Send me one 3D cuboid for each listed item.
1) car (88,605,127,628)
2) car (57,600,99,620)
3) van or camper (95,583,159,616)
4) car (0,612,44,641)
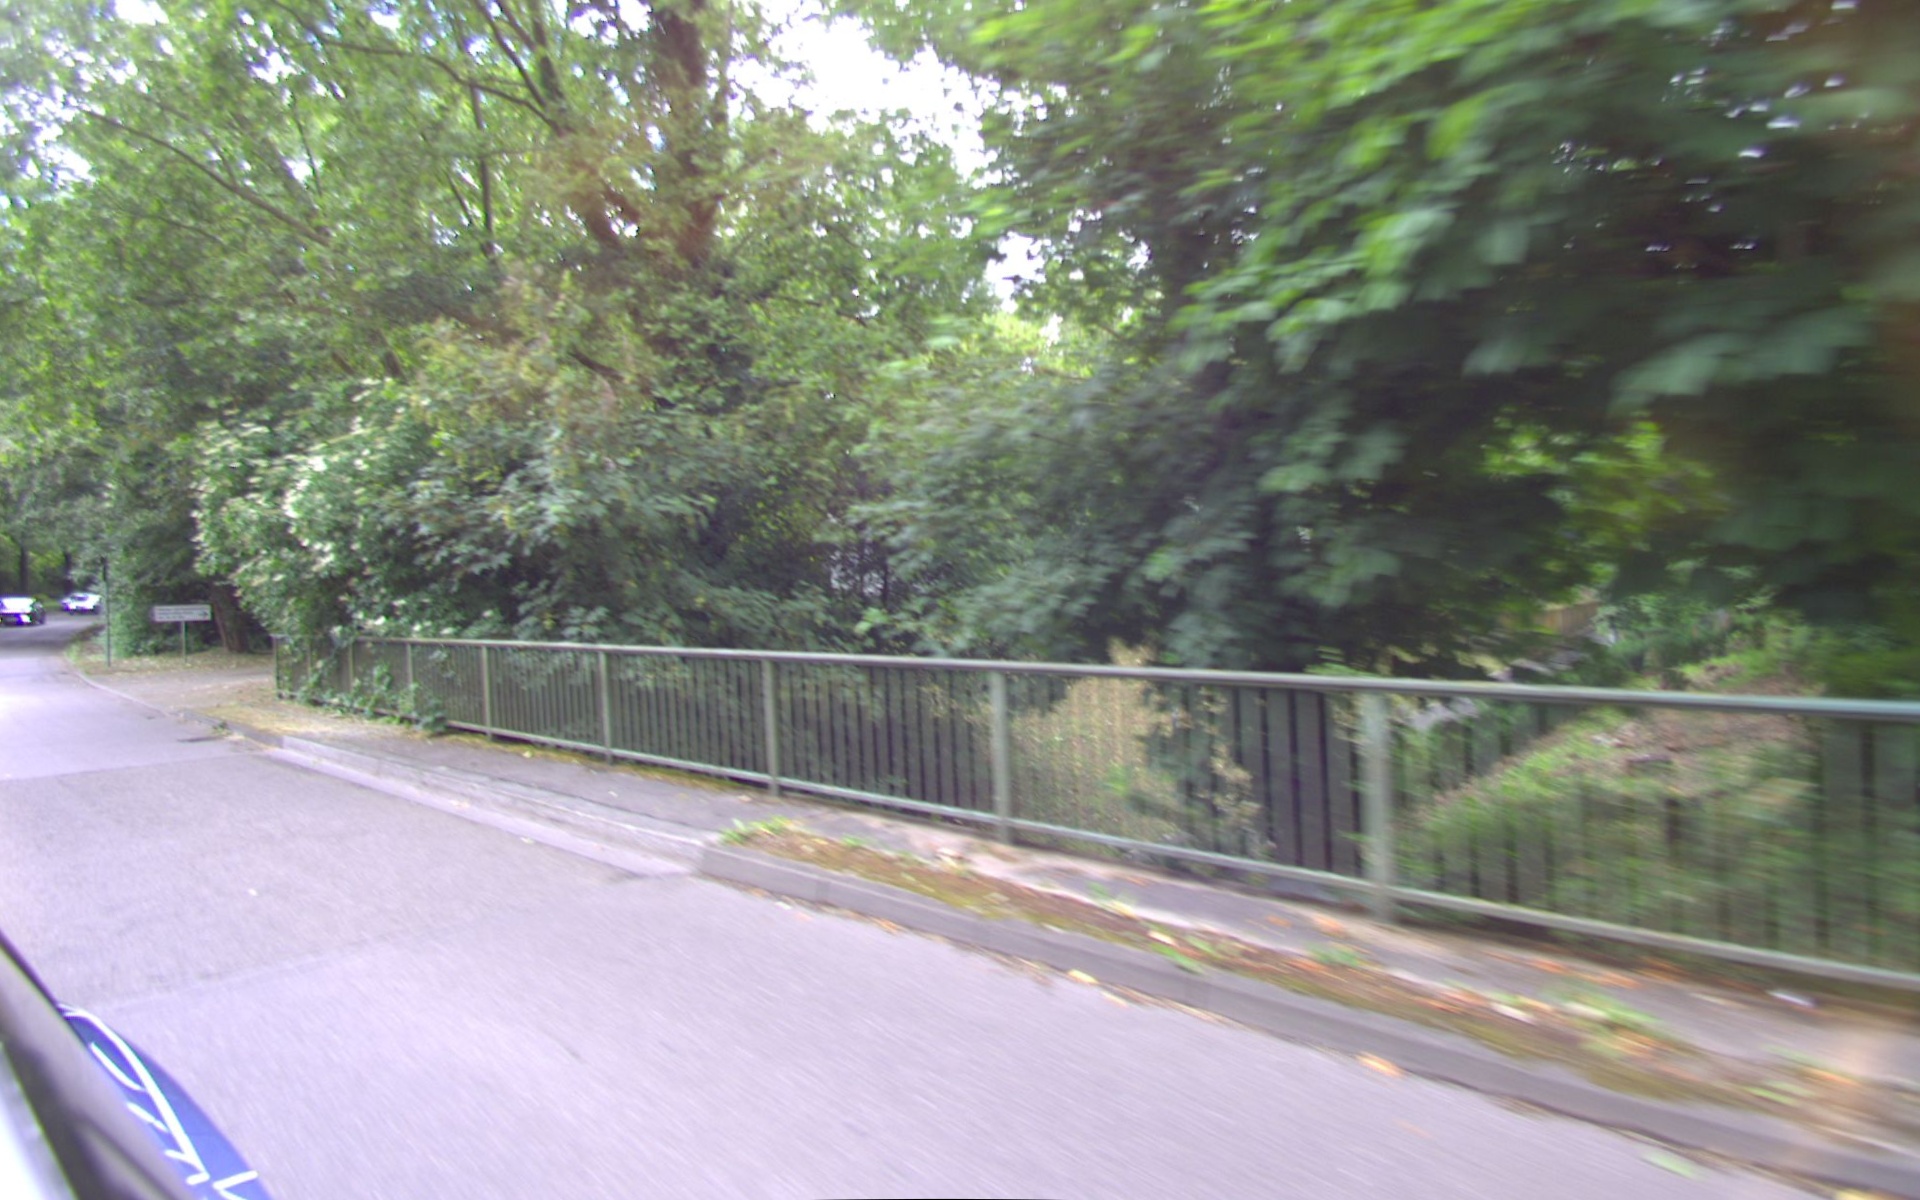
[{"bbox_3d":[-64.891,1.217,77.064,1.740,1.579,4.057,-2,2,-34],"label":"car"},{"bbox_3d":[-74.760,0.817,85.790,1.665,1.493,4.120,-2,2,-27],"label":"car"},{"bbox_3d":[-79.400,-0.094,96.613,2.390,3.002,7.417,-2,1,-20],"label":"van or camper"},{"bbox_3d":[-56.196,1.549,60.304,1.740,1.579,4.057,-2,2,-34],"label":"car"}]
